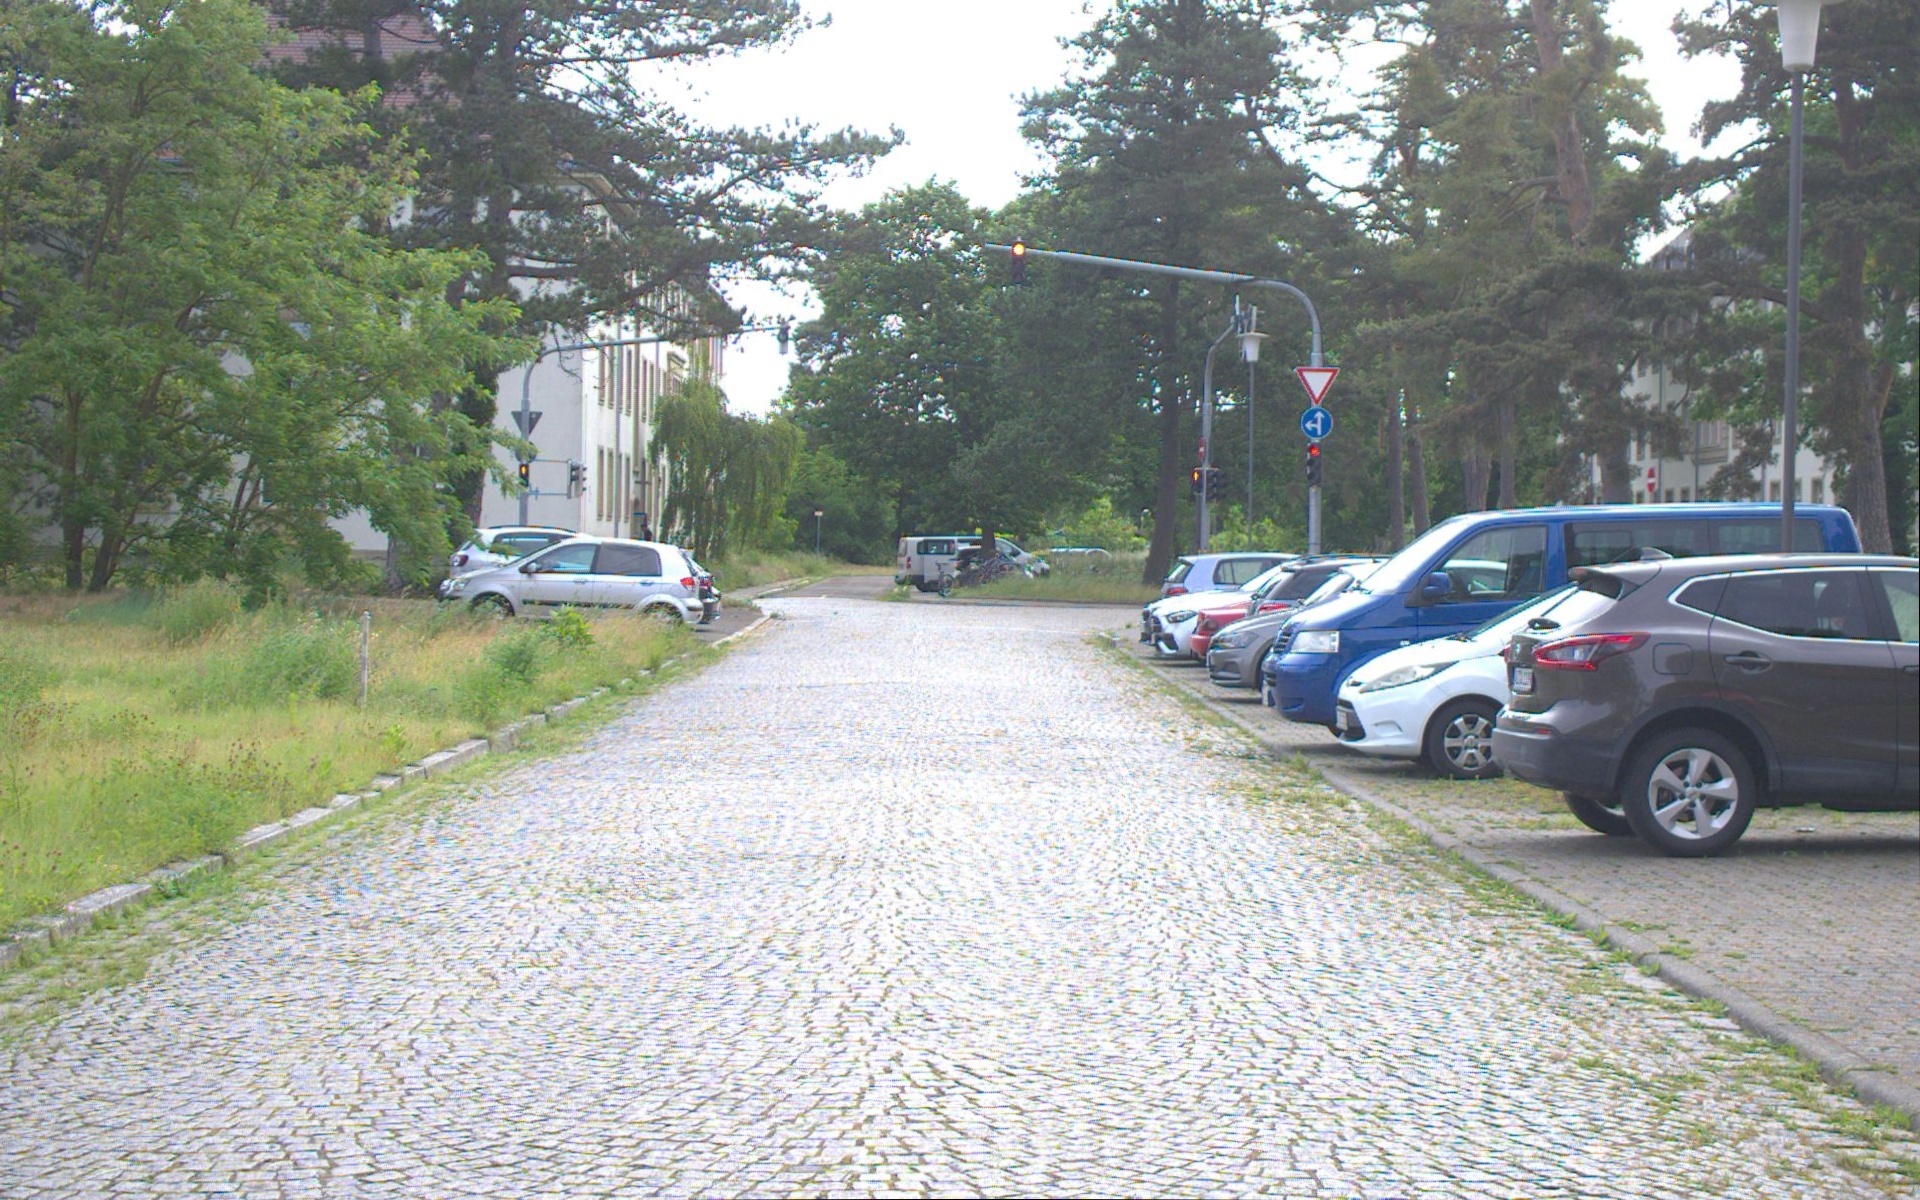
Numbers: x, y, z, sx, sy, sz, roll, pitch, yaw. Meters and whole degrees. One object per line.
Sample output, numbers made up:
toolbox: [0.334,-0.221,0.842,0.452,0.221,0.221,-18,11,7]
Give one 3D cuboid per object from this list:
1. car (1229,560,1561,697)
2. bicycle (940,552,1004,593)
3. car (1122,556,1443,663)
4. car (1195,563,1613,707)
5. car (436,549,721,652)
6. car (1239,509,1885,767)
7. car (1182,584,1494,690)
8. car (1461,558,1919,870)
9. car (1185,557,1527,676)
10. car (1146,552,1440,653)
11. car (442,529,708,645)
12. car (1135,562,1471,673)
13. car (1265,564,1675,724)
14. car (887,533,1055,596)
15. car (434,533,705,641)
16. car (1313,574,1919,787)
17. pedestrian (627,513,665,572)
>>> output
car: [4.856,0.305,38.717,3.505,1.482,1.743,0,1,-1]
bicycle: [0.384,-0.858,106.973,1.881,1.167,0.665,2,1,-6]
car: [4.558,0.120,48.813,4.227,1.474,1.710,0,1,-11]
car: [4.576,0.342,35.849,4.130,1.442,1.766,0,1,0]
car: [-5.864,-0.011,53.025,4.297,1.548,1.812,0,1,-6]
car: [4.753,0.276,27.634,4.795,1.997,1.966,0,1,-2]
car: [4.508,0.436,41.345,3.587,1.218,1.628,0,1,1]
car: [5.005,0.577,18.735,4.203,1.589,1.953,0,1,-2]
car: [4.992,0.199,43.684,4.104,1.471,1.685,0,1,-2]
car: [4.943,0.026,51.365,4.134,1.458,1.634,0,1,-5]
car: [-5.609,-0.199,50.425,3.720,1.476,1.673,3,1,-3]
car: [4.561,0.217,46.047,4.184,1.432,1.756,0,1,-7]
car: [4.838,0.402,32.945,3.653,1.473,1.766,0,1,0]
car: [0.369,-1.228,118.277,5.374,2.094,2.179,1,1,-12]
car: [-6.320,-0.226,55.827,4.297,1.726,1.653,0,1,-5]
car: [4.747,0.563,25.092,4.097,1.473,1.722,0,1,-3]
pedestrian: [-10.588,-1.944,115.963,1.074,1.952,1.121,2,1,0]
